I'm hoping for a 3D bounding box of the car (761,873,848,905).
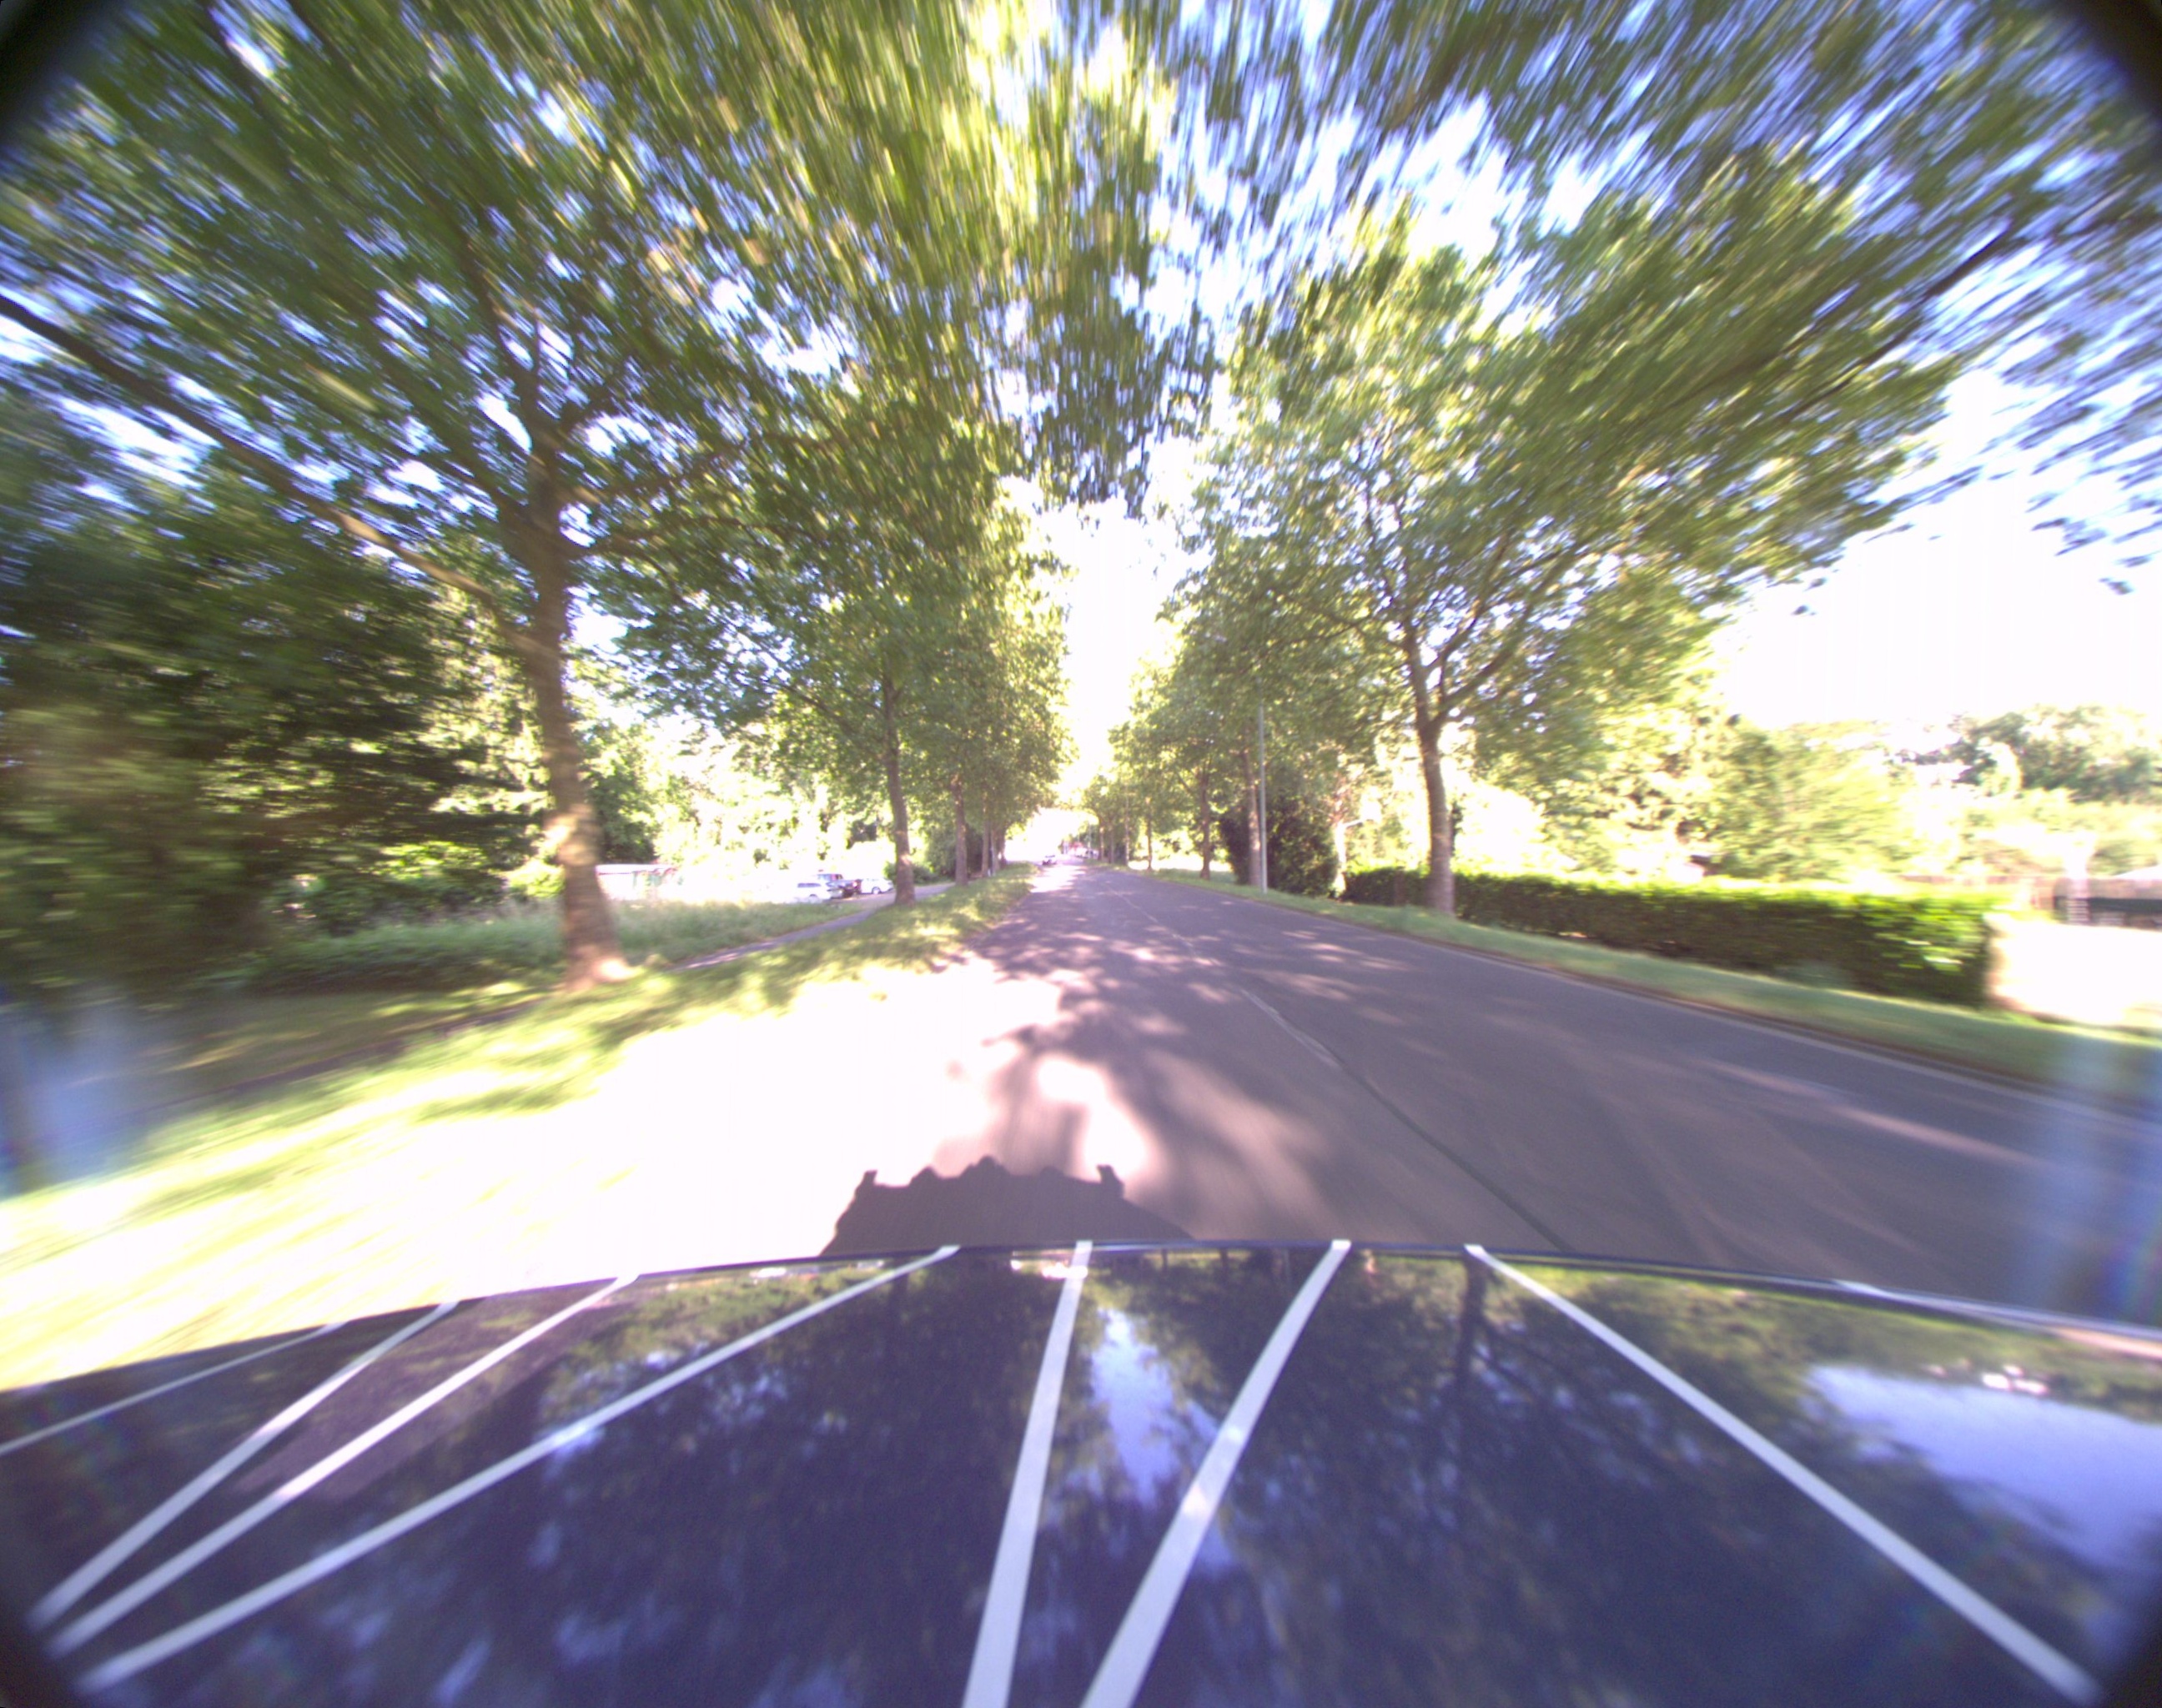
[{"bbox_3d":[-16.810,2.125,46.317,4.510,1.660,2.001,-2,1,7],"label":"car"}]

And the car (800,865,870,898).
[{"bbox_3d":[-16.826,1.863,52.087,3.995,2.002,2.001,-2,1,7],"label":"car"}]

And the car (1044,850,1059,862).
[{"bbox_3d":[-4.058,0.269,105.470,1.999,1.655,3.999,-2,1,-3],"label":"car"}]

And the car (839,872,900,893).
[{"bbox_3d":[-16.213,2.182,58.387,3.995,1.378,2.001,-2,1,7],"label":"car"}]

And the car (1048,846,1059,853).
[{"bbox_3d":[-5.471,-0.911,153.028,1.869,1.421,4.000,-2,0,2],"label":"car"}]
